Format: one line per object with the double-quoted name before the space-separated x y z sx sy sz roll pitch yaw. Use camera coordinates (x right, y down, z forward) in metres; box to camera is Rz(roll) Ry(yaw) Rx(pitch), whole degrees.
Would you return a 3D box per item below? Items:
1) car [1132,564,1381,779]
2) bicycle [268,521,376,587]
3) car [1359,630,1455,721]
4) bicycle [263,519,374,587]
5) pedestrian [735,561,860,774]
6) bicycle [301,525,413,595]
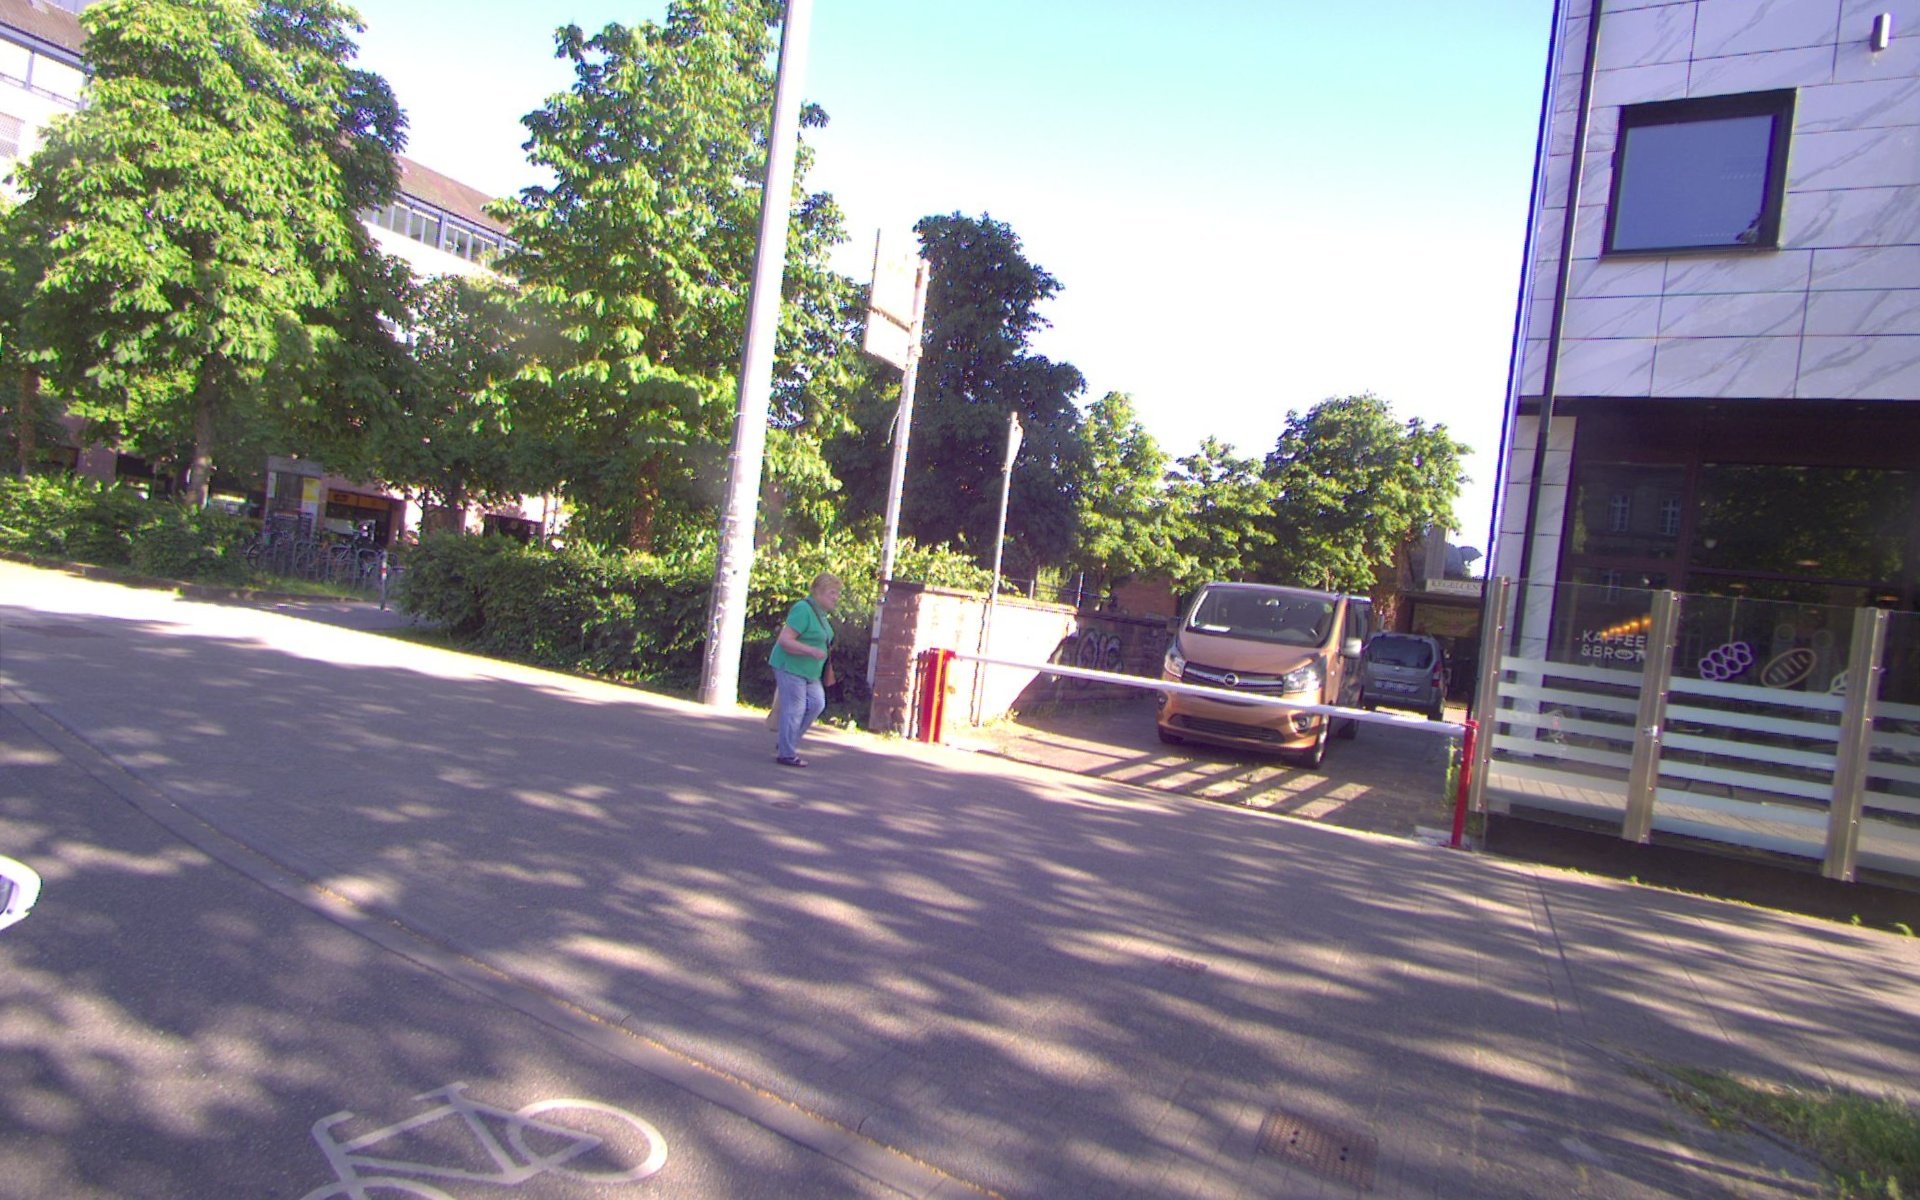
"car" 3.949 0.760 12.688 1.880 2.011 4.901 7 2 28
"bicycle" -14.757 -1.041 23.328 0.564 1.331 1.998 7 1 30
"car" 10.037 1.651 22.450 1.567 1.692 3.616 7 0 28
"bicycle" -14.429 -1.034 22.687 0.564 1.331 1.998 7 1 30
"pedestrian" -1.333 0.533 8.230 0.818 1.595 0.737 6 1 -11
"bicycle" -13.177 -0.846 22.059 0.564 1.331 1.998 7 1 30
